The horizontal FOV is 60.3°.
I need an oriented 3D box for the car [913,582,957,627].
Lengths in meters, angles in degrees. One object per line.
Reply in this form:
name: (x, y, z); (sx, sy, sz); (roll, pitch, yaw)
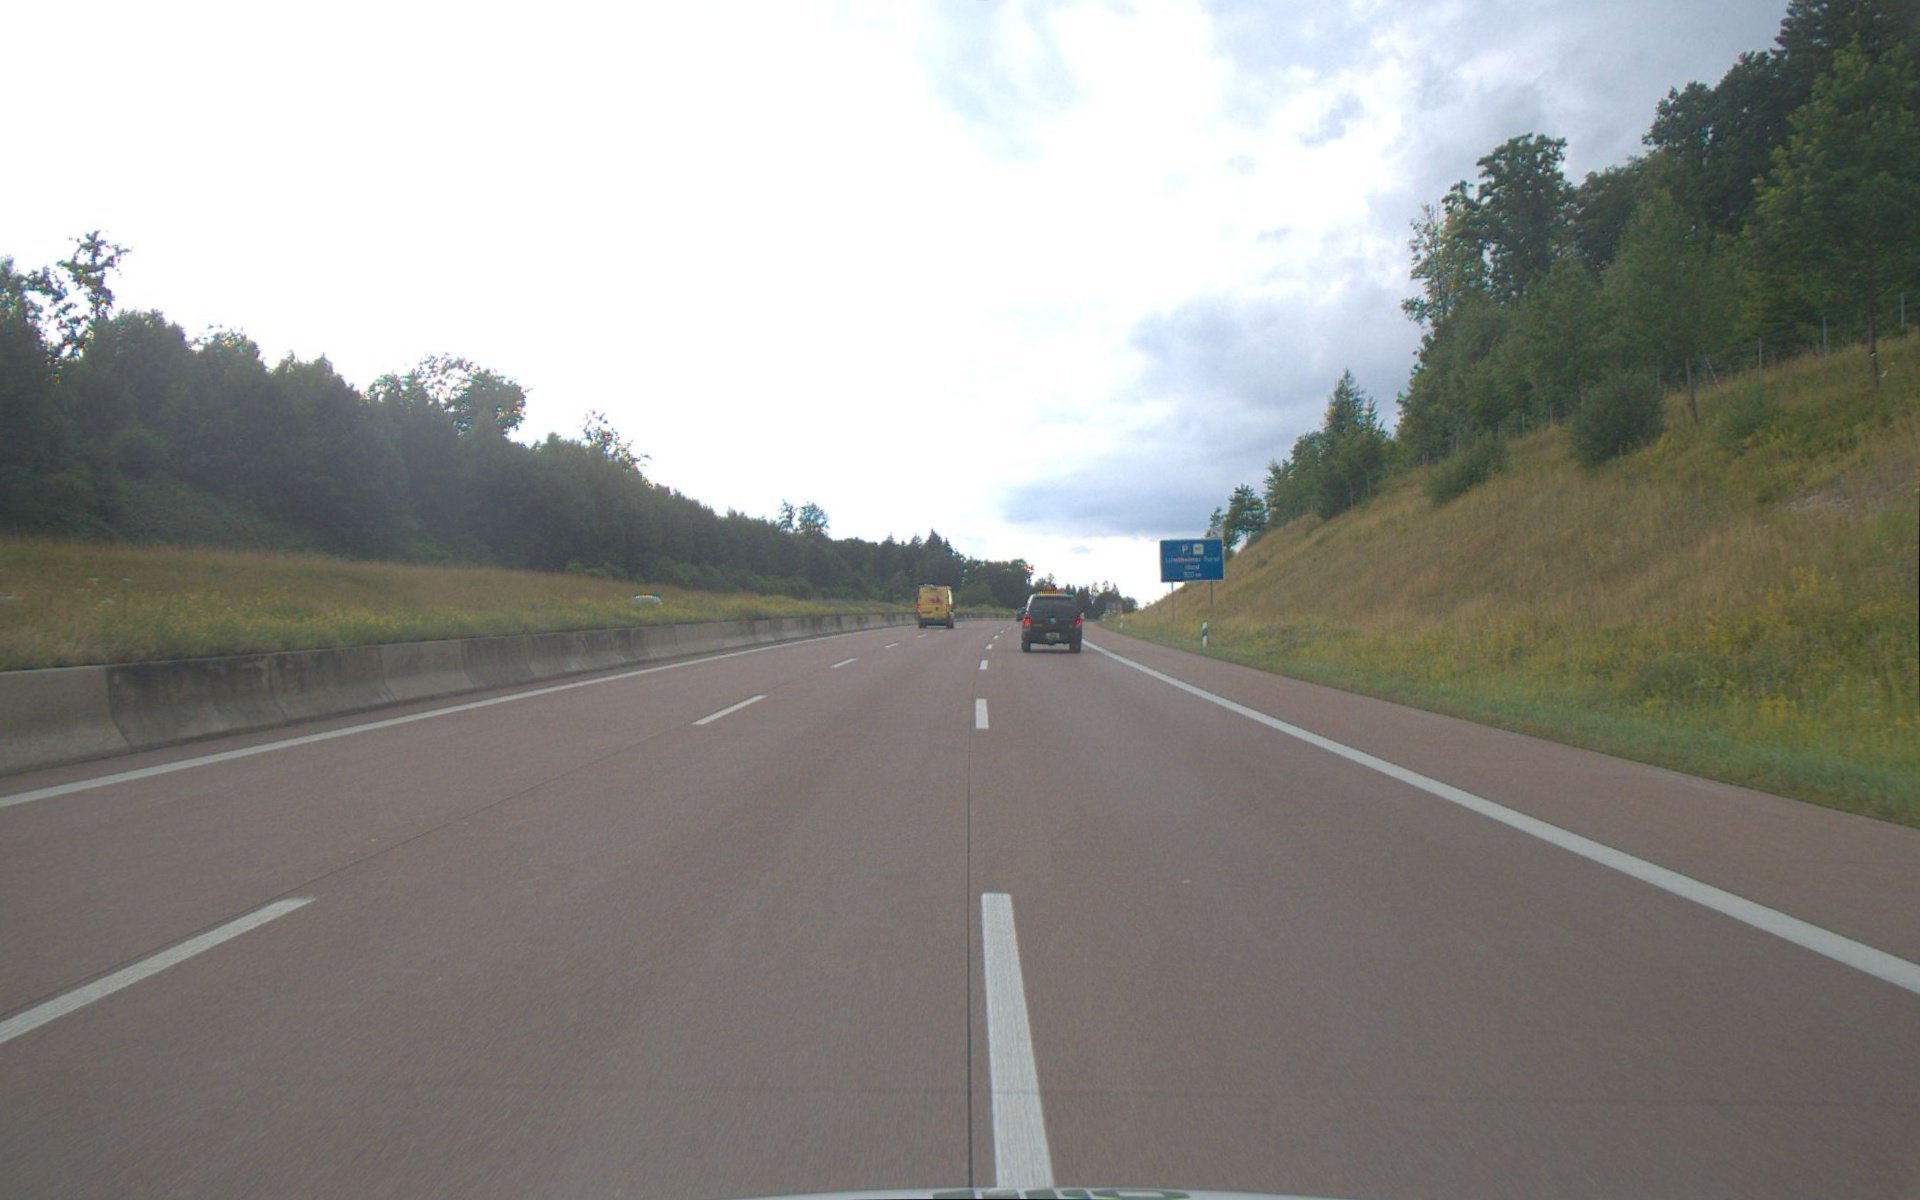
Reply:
car: (-1.553, 0.353, 105.894); (2.407, 2.754, 5.615); (0, -1, 3)

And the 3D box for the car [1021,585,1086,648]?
car: (3.022, 0.563, 53.521); (2.001, 1.930, 5.579); (0, -1, 3)

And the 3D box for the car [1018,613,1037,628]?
car: (7.881, 2.398, 192.673); (1.847, 1.795, 5.001); (0, -1, 7)
